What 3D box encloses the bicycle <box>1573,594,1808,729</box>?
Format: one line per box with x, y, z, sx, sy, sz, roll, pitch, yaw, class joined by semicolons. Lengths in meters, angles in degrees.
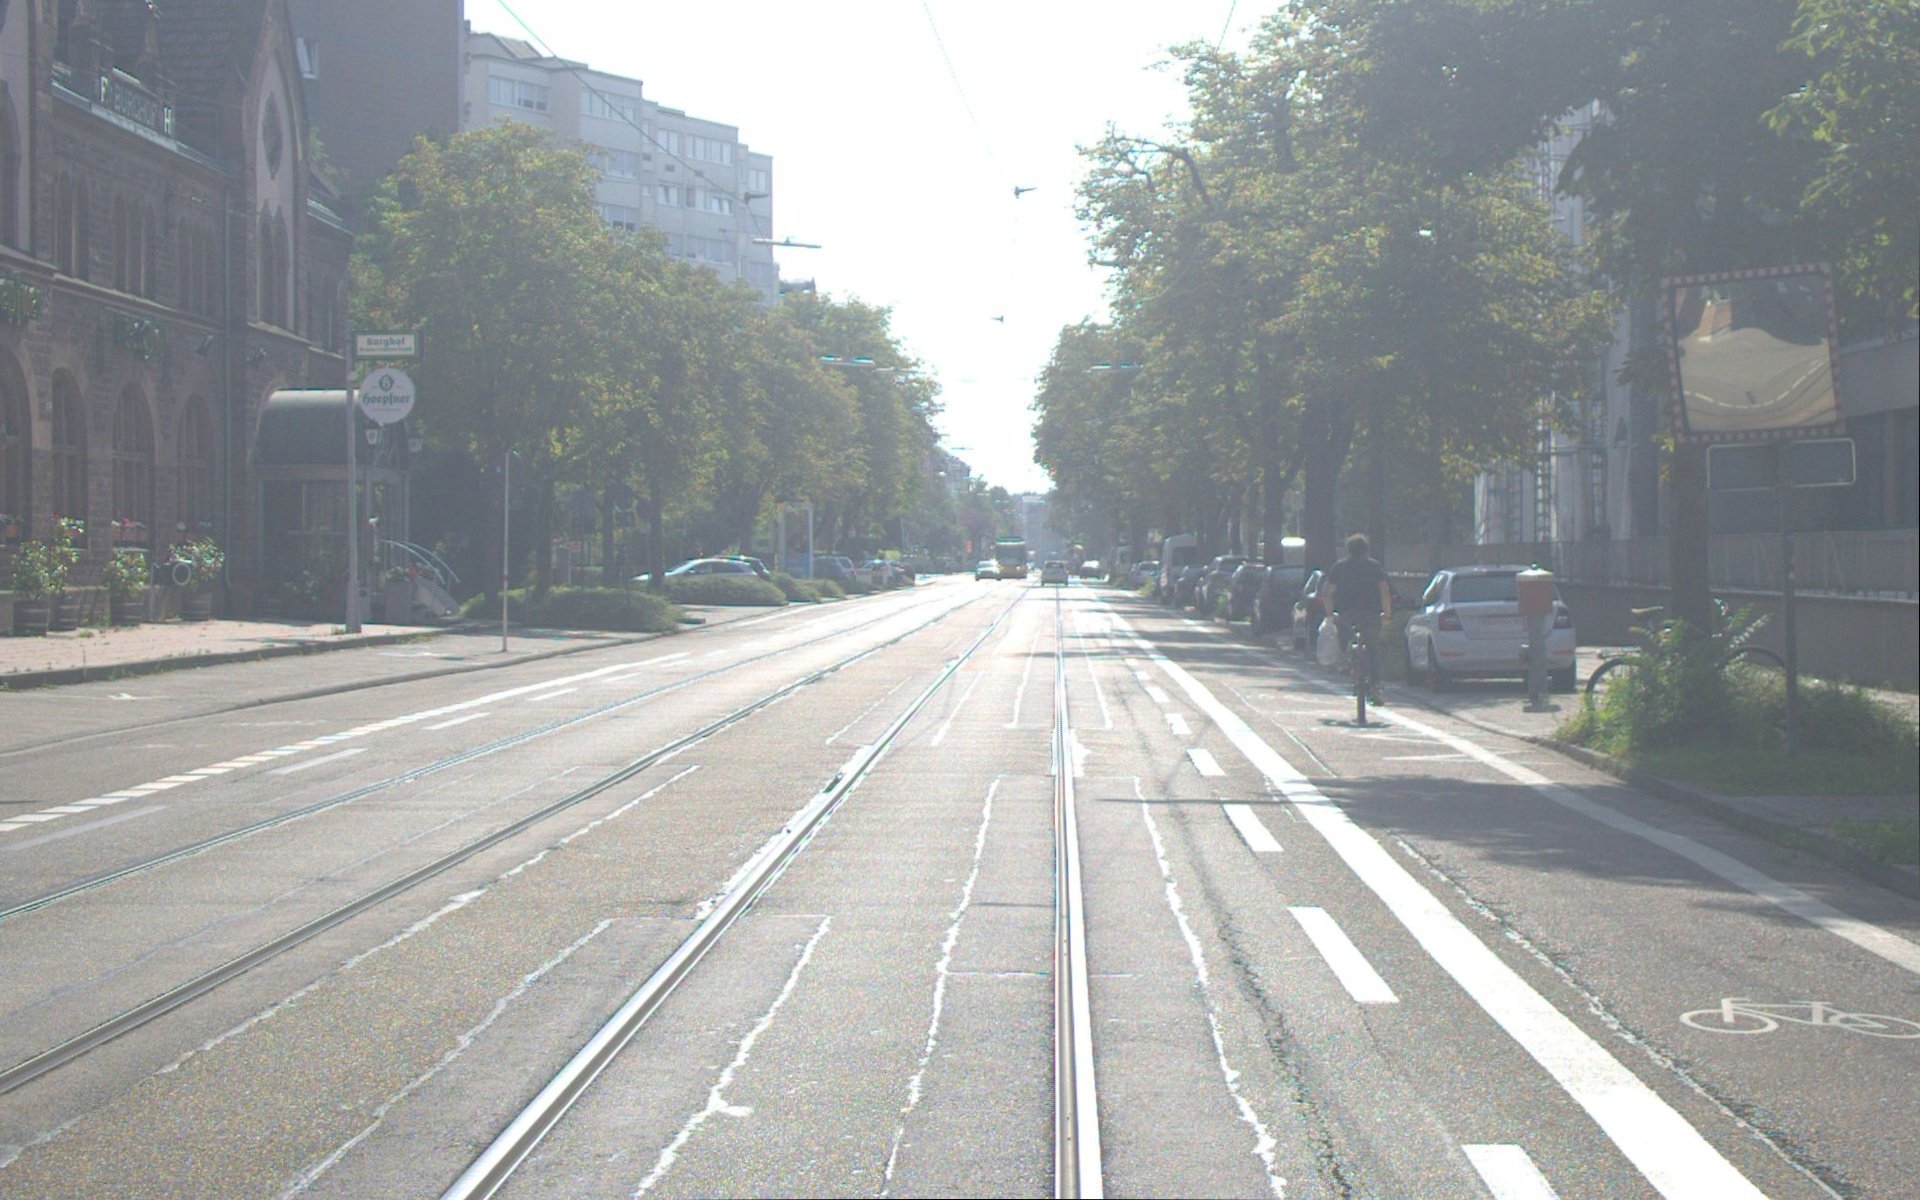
6.080;0.506;28.672;1.769;1.060;0.796;-1;0;0;bicycle

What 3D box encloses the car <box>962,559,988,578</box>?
1.097;-2.256;247.796;1.828;1.371;4.512;0;1;1;car

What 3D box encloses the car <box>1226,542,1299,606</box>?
7.380;-0.660;84.201;1.576;1.479;3.738;-1;1;2;car

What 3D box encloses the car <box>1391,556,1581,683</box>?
6.235;0.209;41.106;1.640;1.425;3.989;-1;0;0;car

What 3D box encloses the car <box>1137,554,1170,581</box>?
10.008;-1.681;178.040;1.690;1.413;3.634;0;1;3;car

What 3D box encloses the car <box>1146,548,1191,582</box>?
8.755;-1.484;144.713;1.753;1.373;4.718;-1;1;2;car

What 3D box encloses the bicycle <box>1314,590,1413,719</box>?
3.767;0.491;32.205;0.787;1.140;2.304;0;1;4;bicycle

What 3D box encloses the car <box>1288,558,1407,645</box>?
6.699;0.006;59.785;1.646;1.423;4.085;-1;1;1;car

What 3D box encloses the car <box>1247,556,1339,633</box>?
6.867;-0.126;71.220;1.646;1.506;3.778;-1;1;2;car

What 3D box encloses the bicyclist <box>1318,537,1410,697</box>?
3.775;0.152;32.207;0.787;1.465;1.116;0;0;4;bicyclist

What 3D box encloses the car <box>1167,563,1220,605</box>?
7.823;-0.564;115.412;1.616;1.369;4.827;0;1;2;car

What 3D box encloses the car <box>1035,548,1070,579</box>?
5.523;-2.165;204.833;1.994;1.831;4.000;0;1;3;car

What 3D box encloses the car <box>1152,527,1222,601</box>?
8.265;-1.306;125.411;2.082;2.544;5.501;-3;1;0;car

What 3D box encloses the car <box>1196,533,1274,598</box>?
7.507;-0.964;94.054;1.753;1.685;4.396;1;1;0;car

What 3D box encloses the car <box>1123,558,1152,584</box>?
9.908;-1.603;191.808;1.595;1.413;3.634;0;1;3;car
